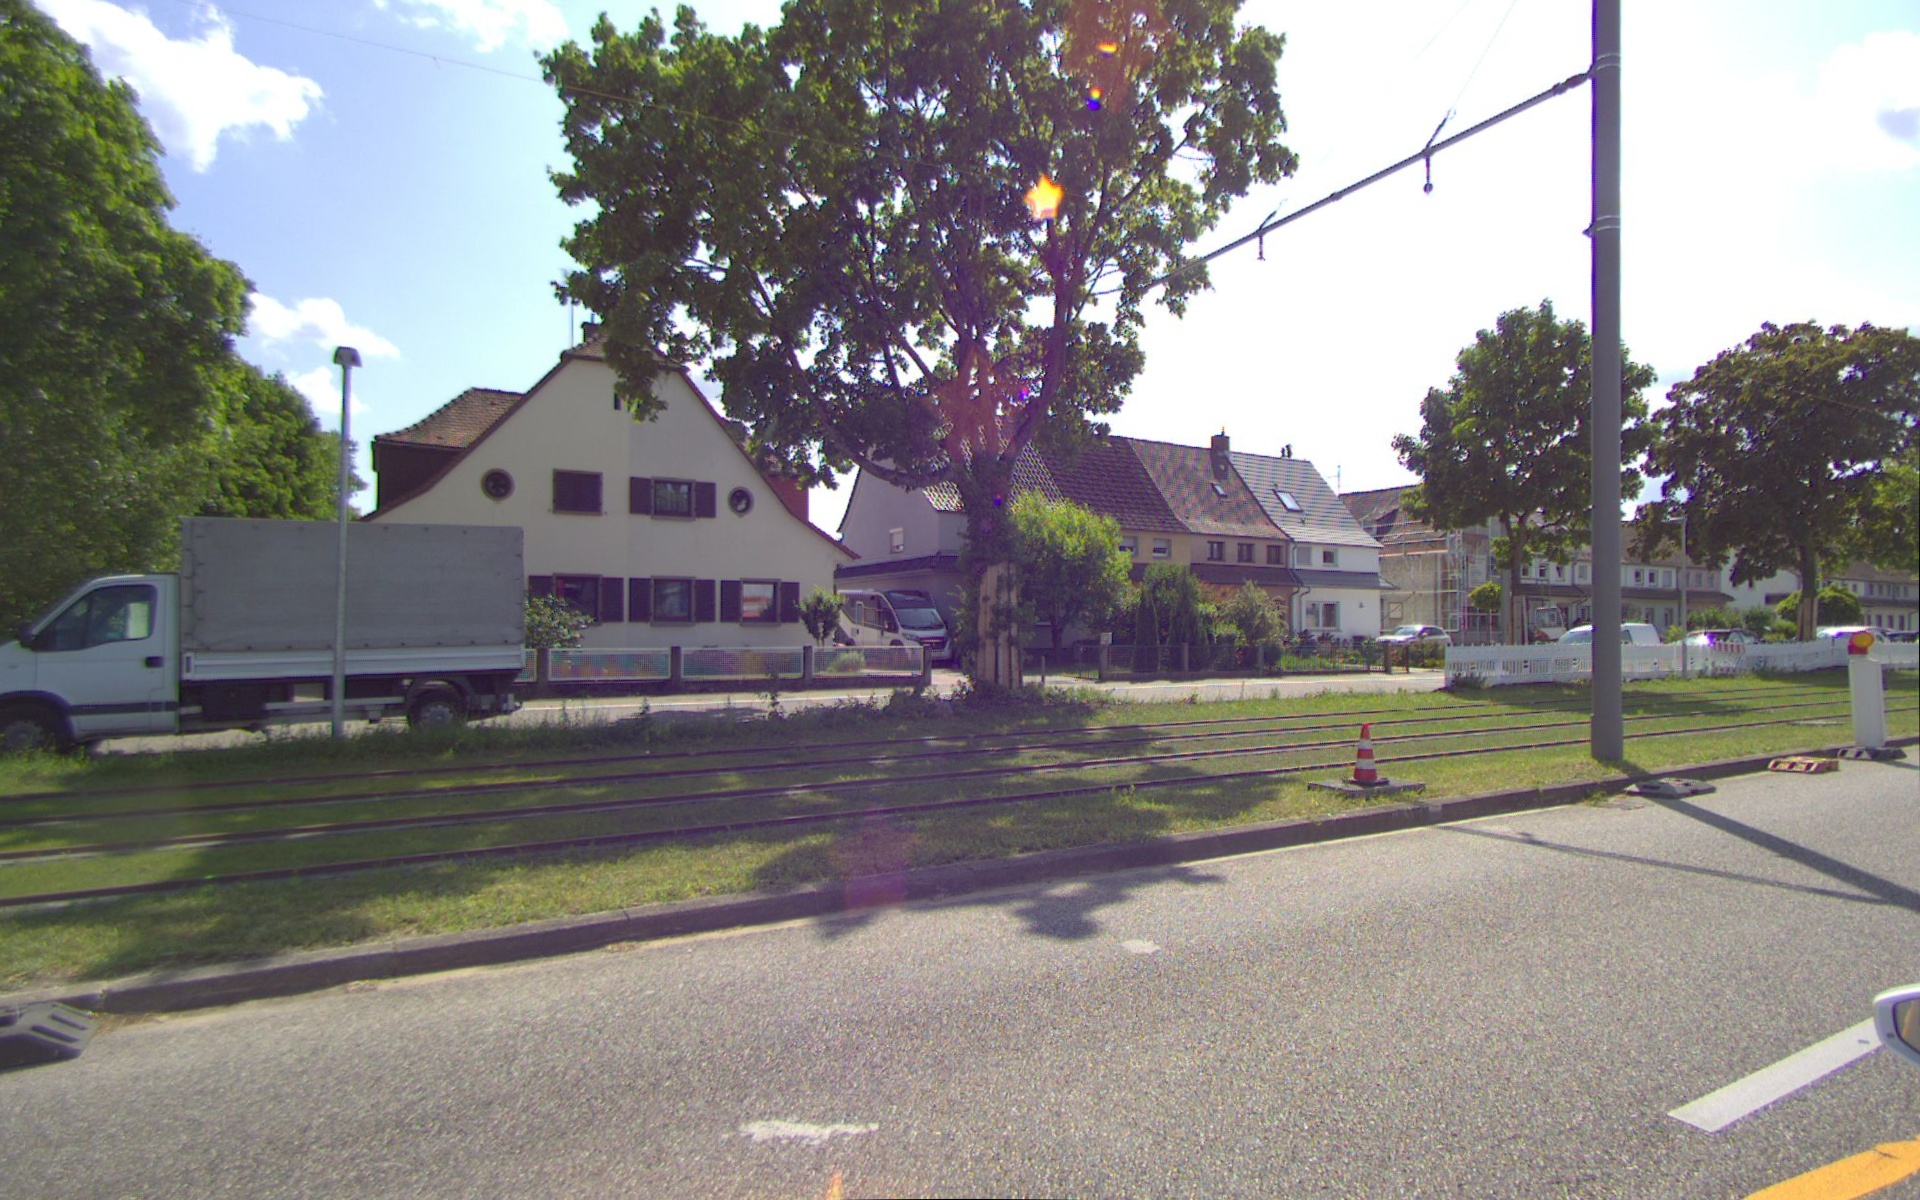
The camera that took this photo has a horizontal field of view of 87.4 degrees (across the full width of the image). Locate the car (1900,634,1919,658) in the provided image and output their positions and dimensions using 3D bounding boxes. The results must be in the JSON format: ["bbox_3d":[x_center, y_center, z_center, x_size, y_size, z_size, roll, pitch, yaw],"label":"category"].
[{"bbox_3d":[70.036,3.307,72.745,4.079,1.745,1.768,1,-2,-30],"label":"car"}]

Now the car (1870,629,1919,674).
[{"bbox_3d":[40.652,2.166,42.694,4.079,1.829,1.768,1,-2,-30],"label":"car"}]

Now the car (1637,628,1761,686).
[{"bbox_3d":[24.297,1.825,32.997,4.177,1.797,1.768,1,-2,-30],"label":"car"}]

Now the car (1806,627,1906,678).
[{"bbox_3d":[35.368,2.032,39.637,4.079,1.892,1.768,1,-2,-30],"label":"car"}]

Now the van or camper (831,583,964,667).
[{"bbox_3d":[-2.407,0.937,36.622,2.269,2.801,6.050,1,-2,-32],"label":"van or camper"}]

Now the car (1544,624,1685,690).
[{"bbox_3d":[19.576,1.644,30.024,4.312,1.845,1.768,1,-2,-30],"label":"car"}]

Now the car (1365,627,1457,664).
[{"bbox_3d":[19.996,1.991,44.492,3.952,1.539,1.768,1,-2,-30],"label":"car"}]

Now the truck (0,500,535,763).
[{"bbox_3d":[-8.827,0.403,12.966,5.906,2.817,2.255,1,-2,-31],"label":"truck"}]
